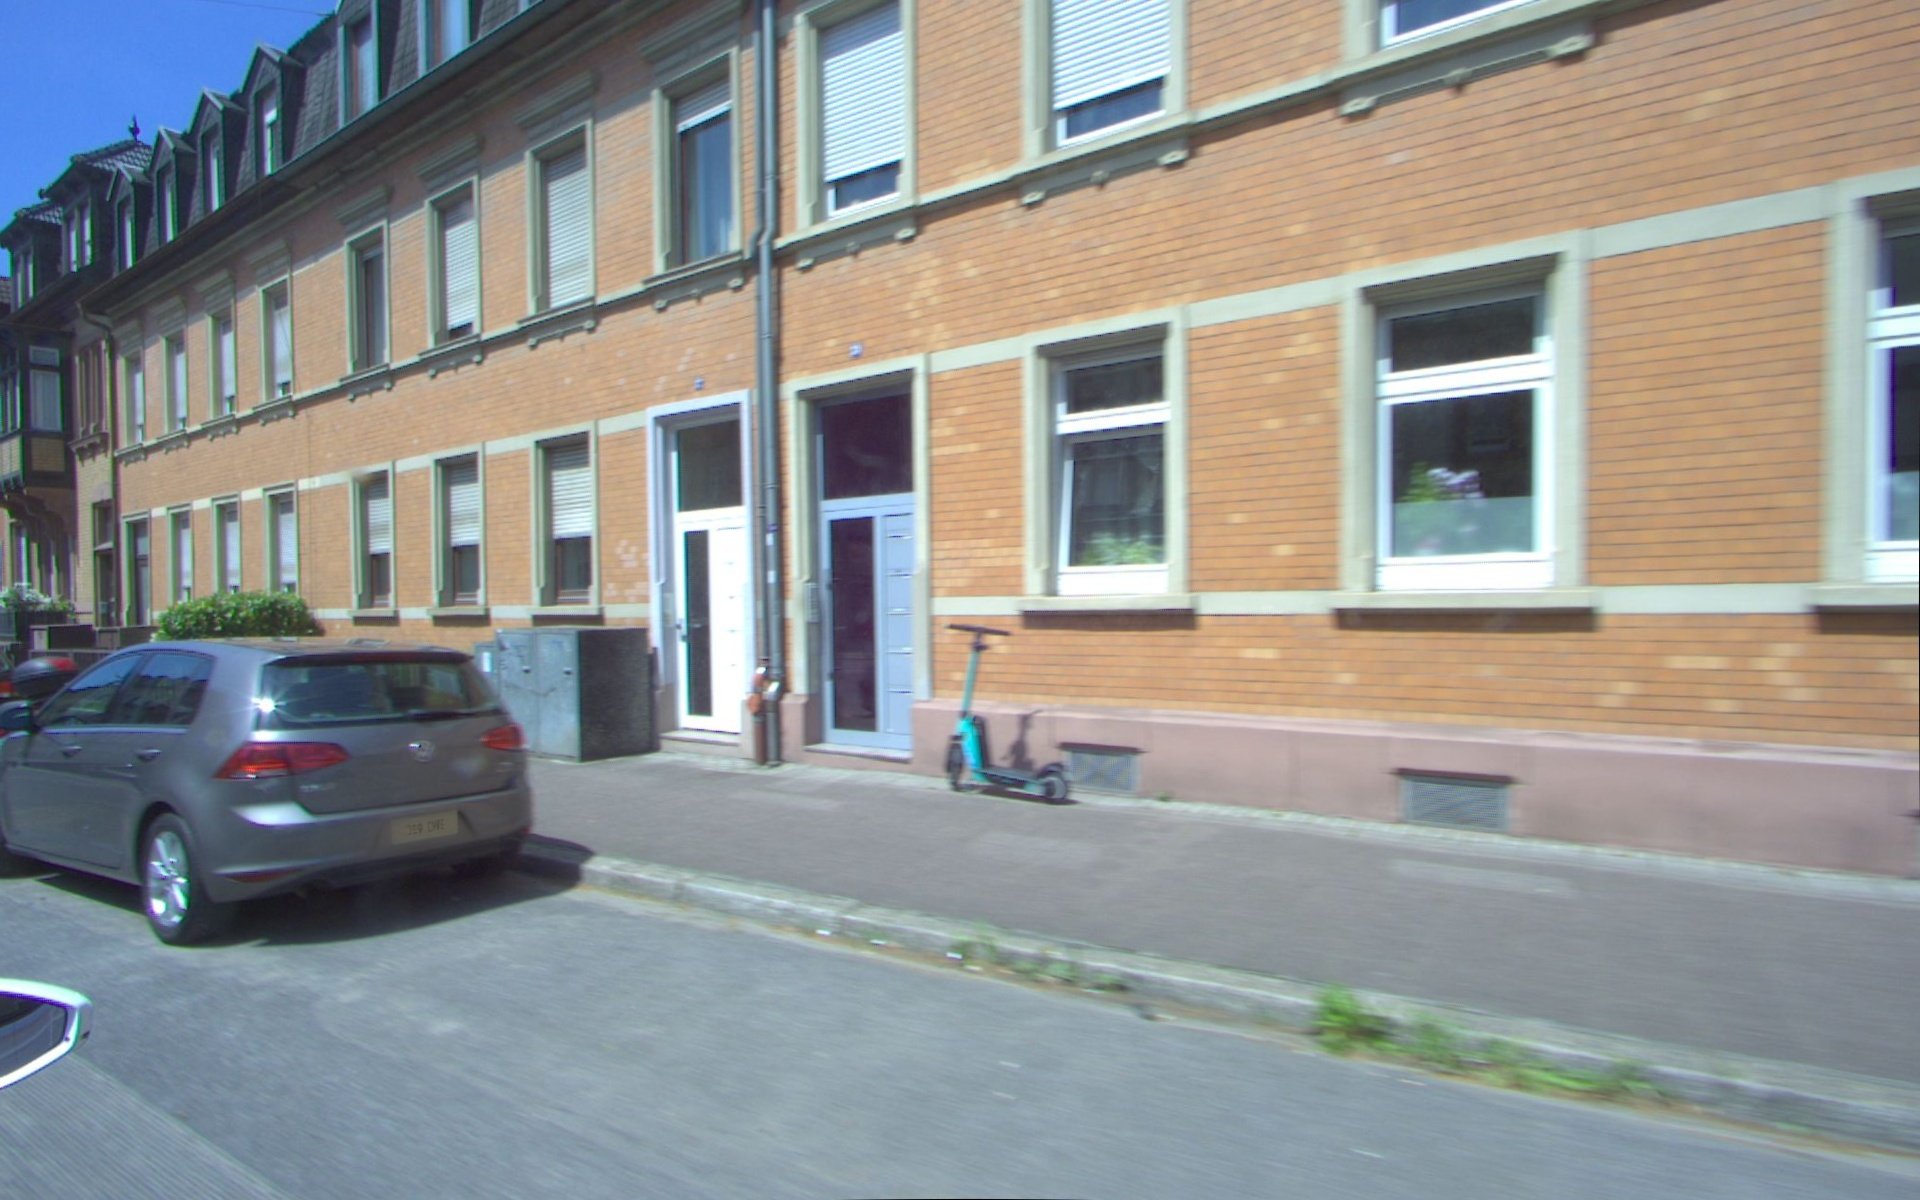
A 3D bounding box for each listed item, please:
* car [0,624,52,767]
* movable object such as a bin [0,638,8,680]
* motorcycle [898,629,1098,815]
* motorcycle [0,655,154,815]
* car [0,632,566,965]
[{"bbox_3d":[-11.764,1.001,10.730,4.432,1.433,1.647,-1,-1,28],"label":"car"},{"bbox_3d":[-25.716,1.570,26.498,0.751,1.091,0.607,0,1,35],"label":"movable object such as a bin"},{"bbox_3d":[0.270,0.842,7.378,1.342,1.241,0.594,-1,0,33],"label":"motorcycle"},{"bbox_3d":[-8.203,1.103,8.394,1.961,1.241,1.111,0,-1,-18],"label":"motorcycle"},{"bbox_3d":[-4.454,0.921,6.116,4.107,1.398,1.697,-1,-1,32],"label":"car"}]
